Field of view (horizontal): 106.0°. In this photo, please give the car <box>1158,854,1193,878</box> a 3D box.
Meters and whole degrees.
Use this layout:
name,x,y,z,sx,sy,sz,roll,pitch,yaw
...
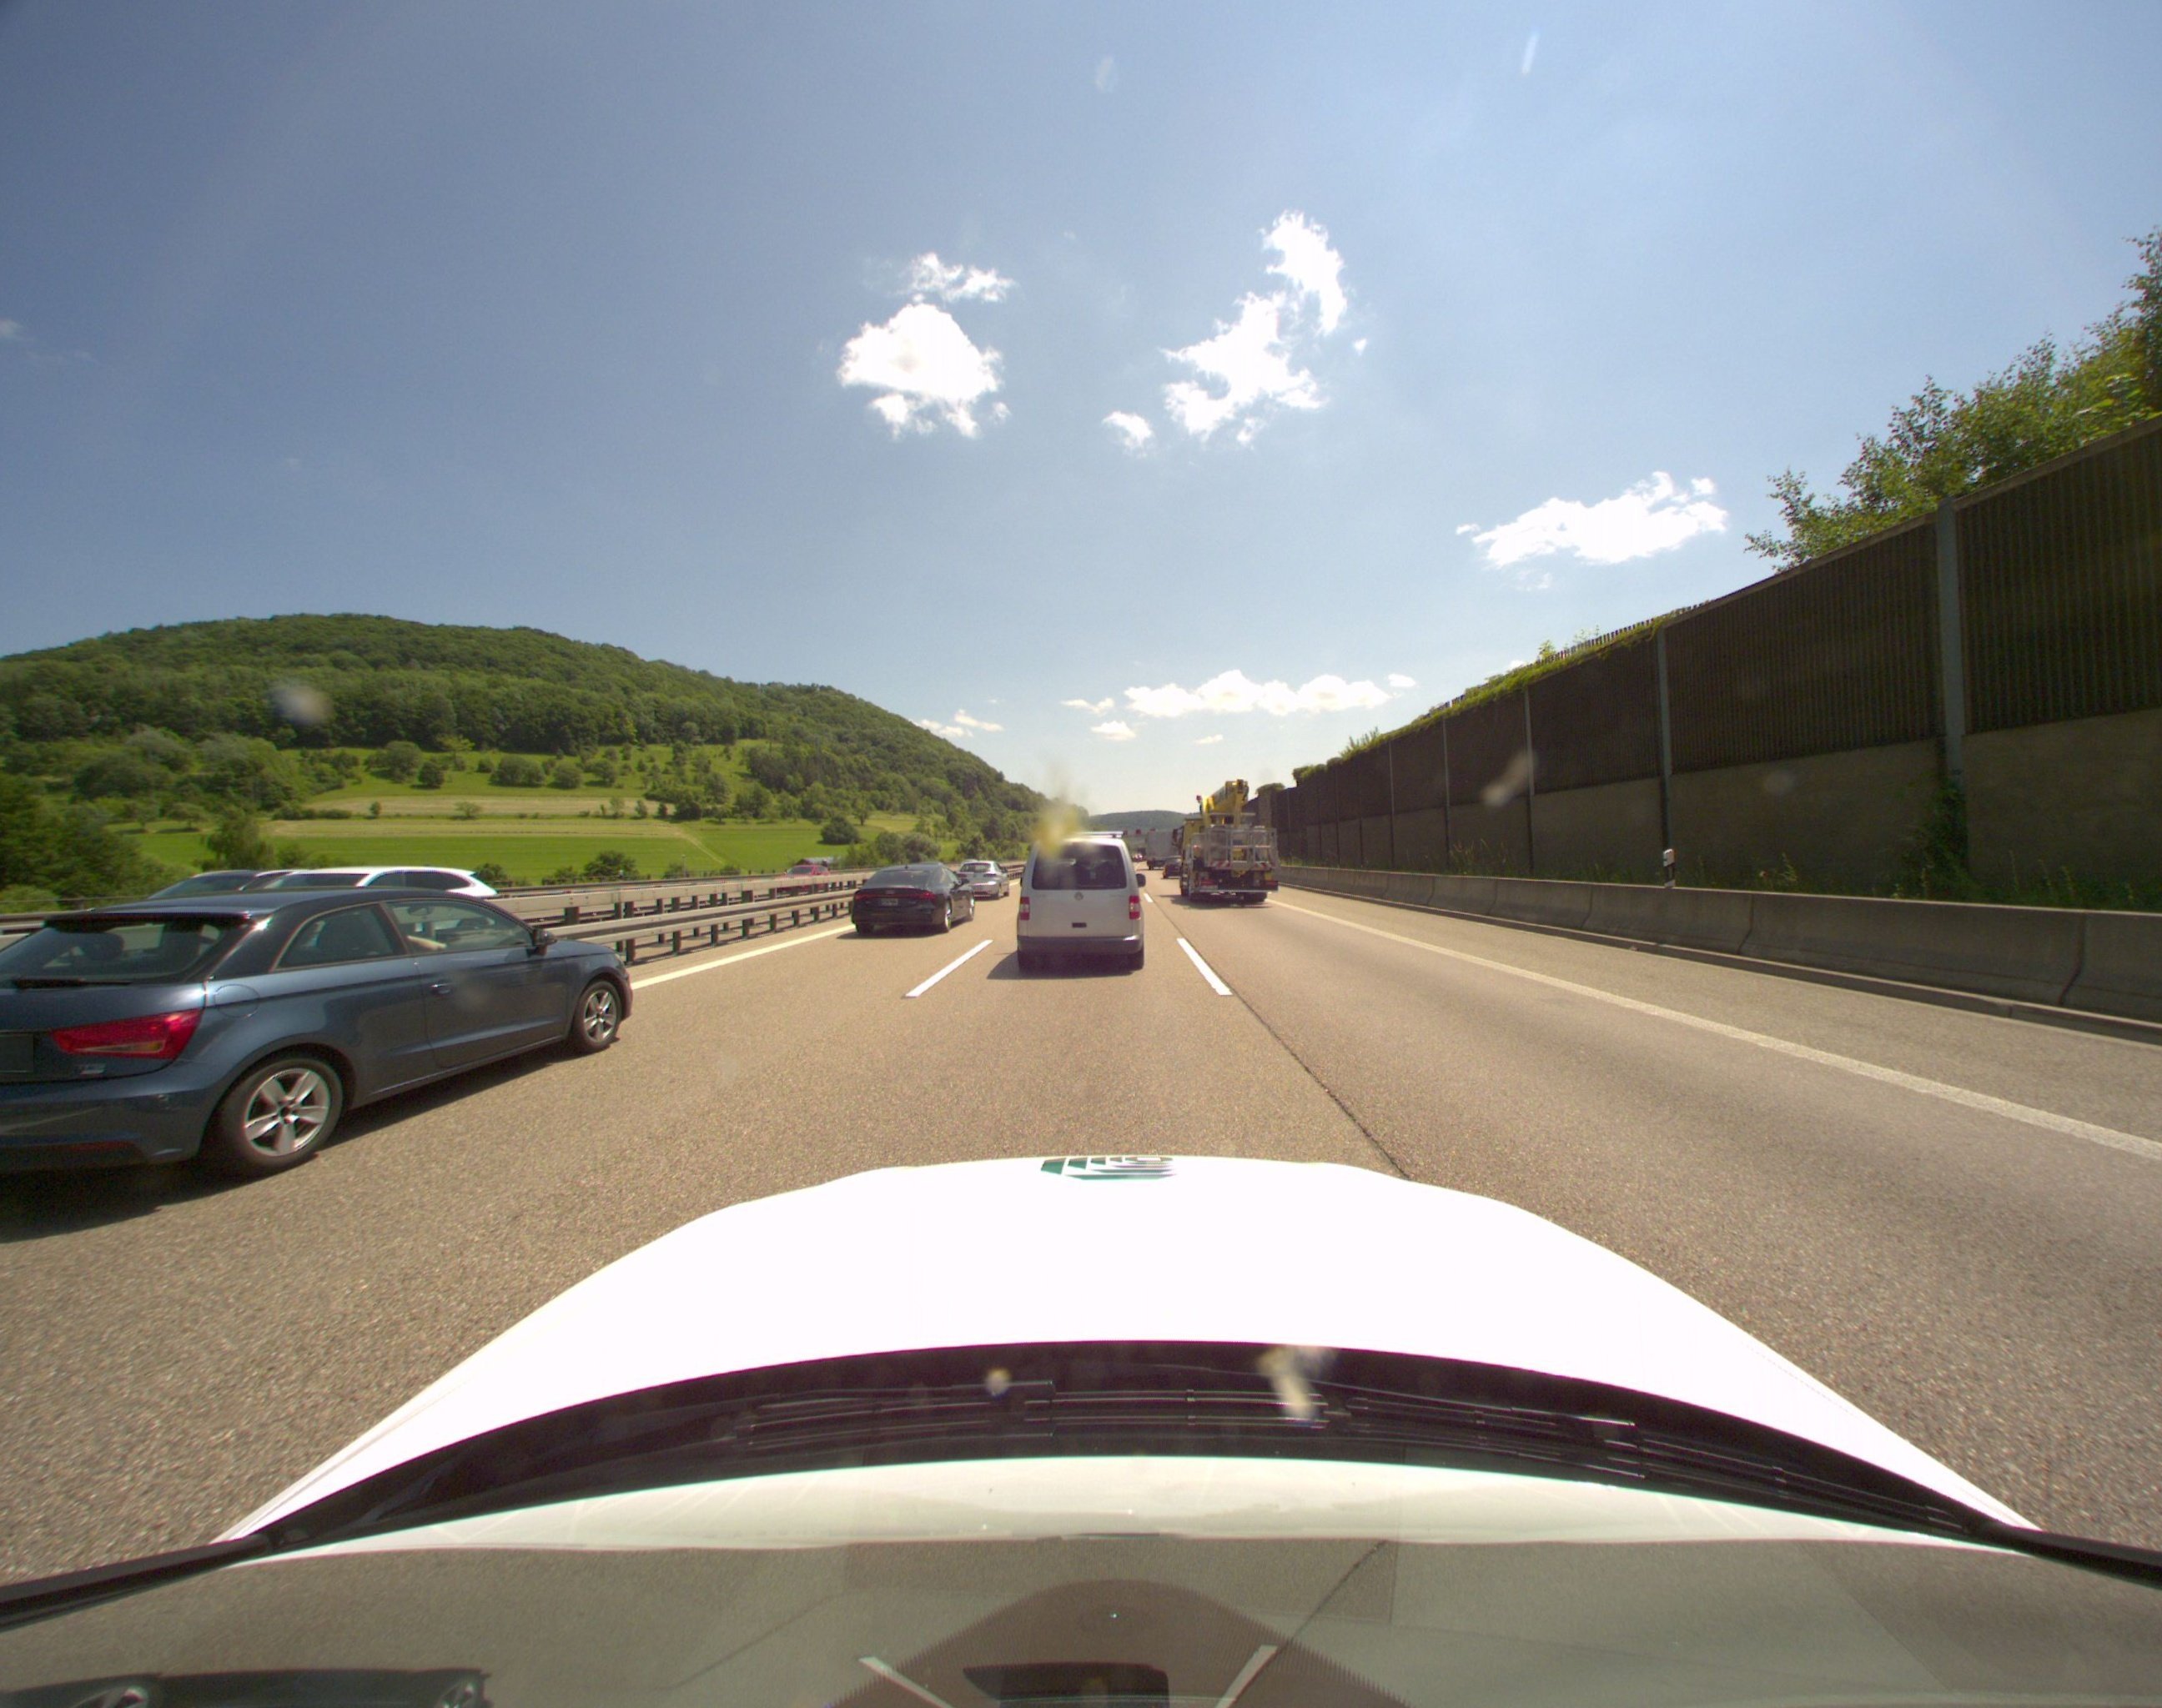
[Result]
name,x,y,z,sx,sy,sz,roll,pitch,yaw
car,6.141,0.767,53.239,1.781,1.458,3.769,-1,0,-1

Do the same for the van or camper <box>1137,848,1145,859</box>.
name,x,y,z,sx,sy,sz,roll,pitch,yaw
van or camper,16.493,-0.203,222.670,1.986,2.954,5.425,0,-1,2

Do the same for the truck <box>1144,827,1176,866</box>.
name,x,y,z,sx,sy,sz,roll,pitch,yaw
truck,8.075,-0.669,83.821,2.928,3.823,8.242,0,-1,3

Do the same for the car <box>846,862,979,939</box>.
name,x,y,z,sx,sy,sz,roll,pitch,yaw
car,-3.545,0.911,18.102,1.794,1.390,4.970,-1,0,1

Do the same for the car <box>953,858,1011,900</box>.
name,x,y,z,sx,sy,sz,roll,pitch,yaw
car,-3.645,0.894,30.577,1.690,1.445,3.860,-1,0,-1

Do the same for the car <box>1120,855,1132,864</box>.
name,x,y,z,sx,sy,sz,roll,pitch,yaw
car,9.052,1.110,163.538,2.108,1.828,3.998,0,-1,-1

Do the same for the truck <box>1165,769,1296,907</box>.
name,x,y,z,sx,sy,sz,roll,pitch,yaw
truck,4.765,-0.460,27.875,2.696,3.942,8.717,-1,0,-1

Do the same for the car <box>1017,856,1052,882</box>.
name,x,y,z,sx,sy,sz,roll,pitch,yaw
car,-2.788,0.893,49.538,1.919,1.499,3.998,0,0,-1

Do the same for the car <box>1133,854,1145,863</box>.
name,x,y,z,sx,sy,sz,roll,pitch,yaw
car,11.952,1.010,167.946,2.108,1.828,3.998,0,-1,-1

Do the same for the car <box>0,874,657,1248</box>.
name,x,y,z,sx,sy,sz,roll,pitch,yaw
car,-4.698,0.884,5.249,1.682,1.388,4.002,-1,0,2

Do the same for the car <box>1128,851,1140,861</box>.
name,x,y,z,sx,sy,sz,roll,pitch,yaw
car,9.387,0.397,144.185,1.986,1.749,4.002,0,-1,2

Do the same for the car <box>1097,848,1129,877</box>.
name,x,y,z,sx,sy,sz,roll,pitch,yaw
car,2.275,0.574,58.839,1.988,1.975,3.998,-1,0,-1

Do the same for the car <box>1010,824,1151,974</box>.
name,x,y,z,sx,sy,sz,roll,pitch,yaw
car,-0.036,0.578,12.354,1.751,1.868,3.998,-1,0,-1

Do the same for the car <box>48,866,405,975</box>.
name,x,y,z,sx,sy,sz,roll,pitch,yaw
car,-15.216,1.085,14.955,1.862,1.618,4.357,-1,0,2

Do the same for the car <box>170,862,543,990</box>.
name,x,y,z,sx,sy,sz,roll,pitch,yaw
car,-11.389,1.006,13.369,1.986,1.693,4.511,-1,0,2

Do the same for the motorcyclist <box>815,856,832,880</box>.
name,x,y,z,sx,sy,sz,roll,pitch,yaw
motorcyclist,-16.785,0.906,53.137,0.841,1.501,0.838,-1,0,0

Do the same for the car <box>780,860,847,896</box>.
name,x,y,z,sx,sy,sz,roll,pitch,yaw
car,-14.149,1.237,43.327,1.986,1.792,4.277,0,-1,2
